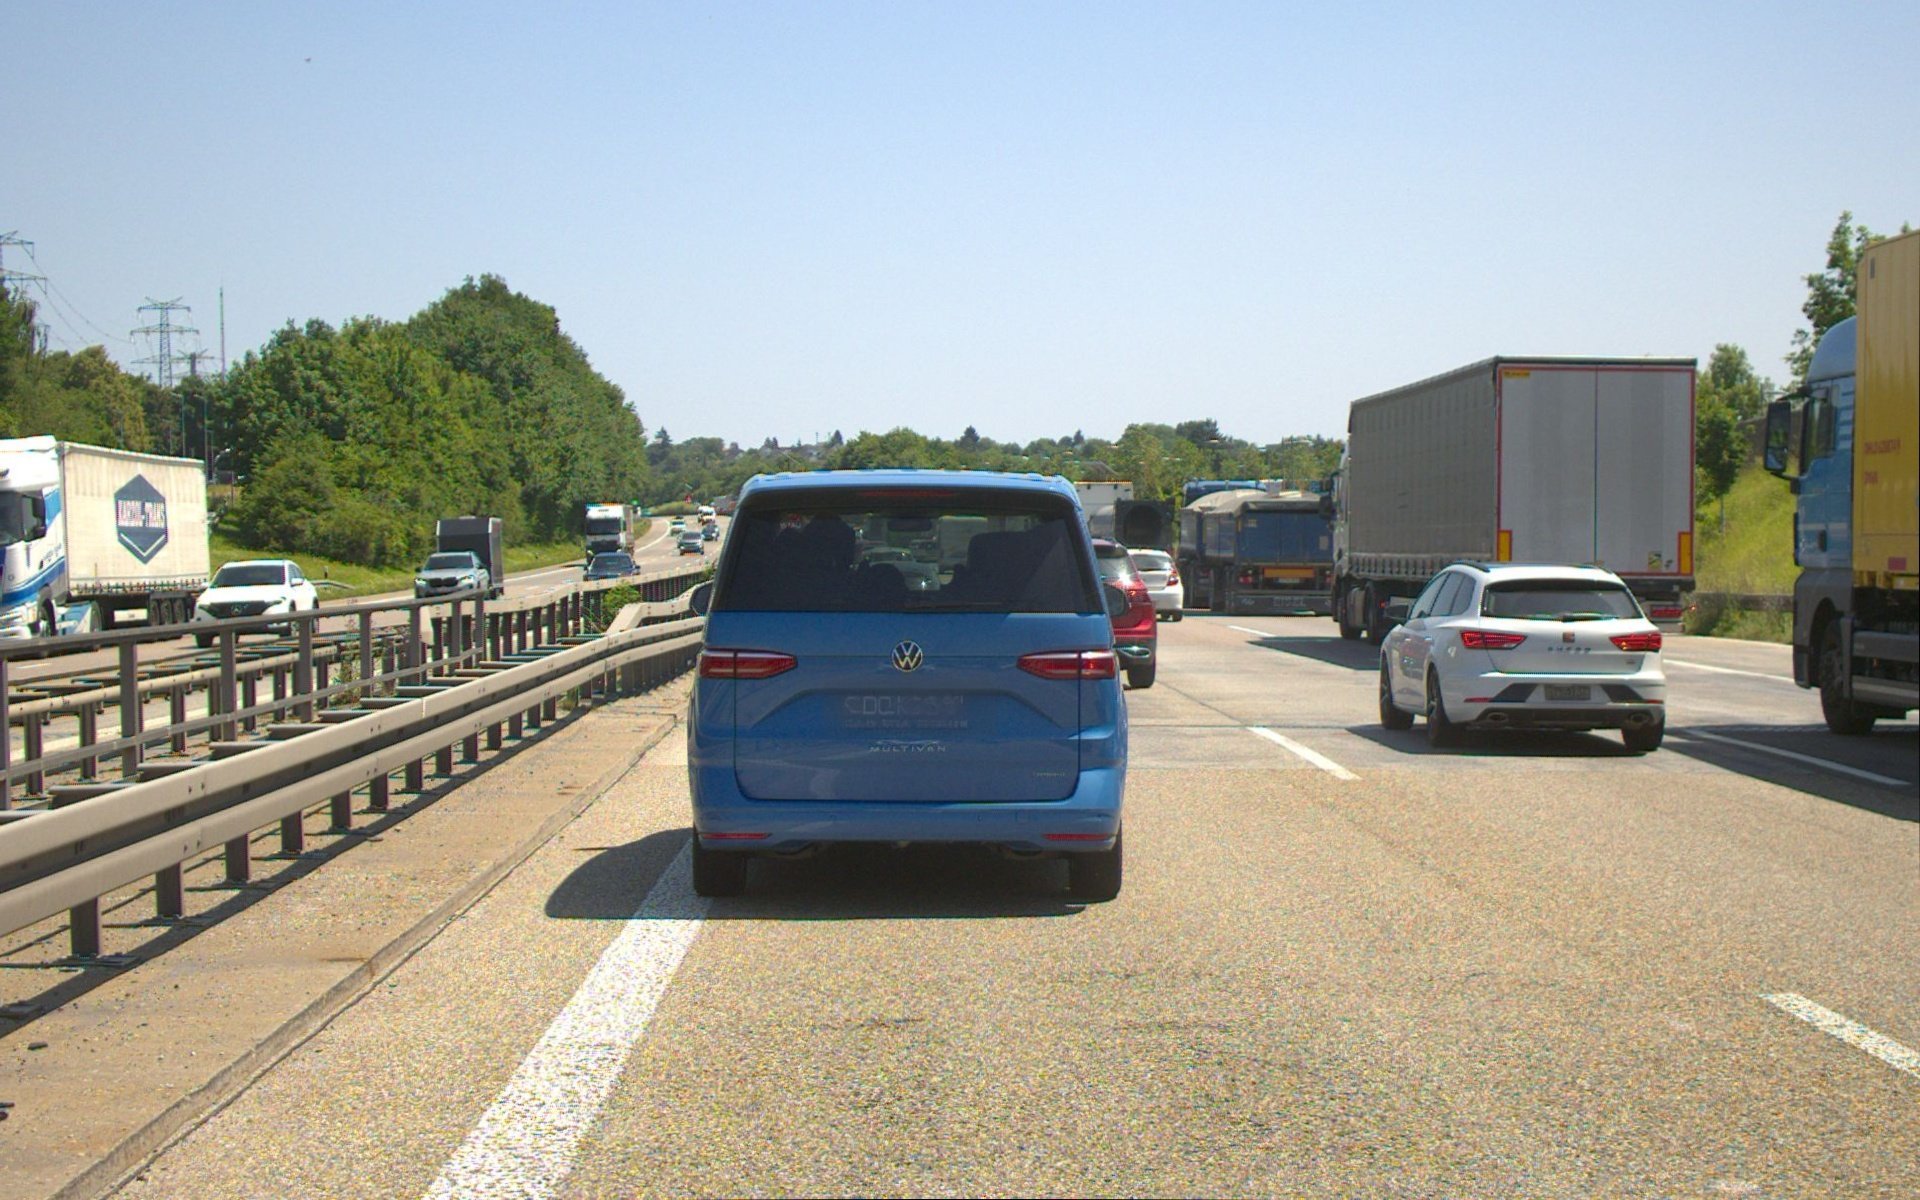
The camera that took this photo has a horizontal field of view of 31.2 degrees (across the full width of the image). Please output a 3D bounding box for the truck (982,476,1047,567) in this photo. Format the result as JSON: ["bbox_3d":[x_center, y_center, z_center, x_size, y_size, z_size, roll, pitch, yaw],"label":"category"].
[{"bbox_3d":[3.048,-4.376,194.237,3.068,4.903,10.691,1,0,-2],"label":"truck"}]

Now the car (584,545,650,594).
[{"bbox_3d":[-11.322,-0.995,113.699,1.792,1.567,4.000,1,0,-1],"label":"car"}]

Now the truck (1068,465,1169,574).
[{"bbox_3d":[6.131,-3.079,134.302,3.626,4.080,7.524,1,0,1],"label":"truck"}]

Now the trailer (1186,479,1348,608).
[{"bbox_3d":[7.139,-1.407,81.078,2.743,2.827,9.117,1,2,-1],"label":"trailer"}]

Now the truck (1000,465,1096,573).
[{"bbox_3d":[4.400,-4.025,176.164,3.621,5.195,15.691,1,0,-3],"label":"truck"}]

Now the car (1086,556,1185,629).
[{"bbox_3d":[3.645,-0.160,72.002,1.840,1.449,4.000,1,0,0],"label":"car"}]

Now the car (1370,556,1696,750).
[{"bbox_3d":[4.431,0.363,27.159,1.867,1.356,4.000,1,1,0],"label":"car"}]

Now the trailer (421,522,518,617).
[{"bbox_3d":[-15.405,-0.954,108.191,2.166,2.768,5.376,-3,0,-1],"label":"trailer"}]

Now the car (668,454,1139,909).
[{"bbox_3d":[-0.240,0.322,16.128,1.901,1.831,4.000,1,0,0],"label":"car"}]

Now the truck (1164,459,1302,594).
[{"bbox_3d":[6.941,-1.930,88.406,2.743,3.300,7.133,1,2,-1],"label":"truck"}]

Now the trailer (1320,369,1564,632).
[{"bbox_3d":[7.787,-1.610,56.340,2.924,4.030,6.411,0,1,-1],"label":"trailer"}]

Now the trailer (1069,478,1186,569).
[{"bbox_3d":[6.069,-2.734,127.203,3.646,3.068,15.772,1,0,0],"label":"trailer"}]

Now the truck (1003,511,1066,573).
[{"bbox_3d":[2.289,-1.785,106.505,1.725,1.851,4.000,1,0,-2],"label":"truck"}]

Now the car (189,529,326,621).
[{"bbox_3d":[-13.589,-0.487,66.729,1.749,1.690,4.385,-2,0,-1],"label":"car"}]

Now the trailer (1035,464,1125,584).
[{"bbox_3d":[5.324,-3.338,155.152,3.646,5.119,13.075,1,0,0],"label":"trailer"}]

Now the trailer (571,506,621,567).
[{"bbox_3d":[-24.490,-4.300,231.269,2.757,3.962,6.132,-2,1,-1],"label":"trailer"}]

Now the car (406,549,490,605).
[{"bbox_3d":[-15.348,-0.696,103.242,1.870,1.620,4.629,0,0,-1],"label":"car"}]

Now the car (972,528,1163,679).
[{"bbox_3d":[1.132,0.024,38.016,1.870,1.547,4.000,1,0,-1],"label":"car"}]

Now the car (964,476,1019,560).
[{"bbox_3d":[2.009,-5.300,224.189,3.218,5.239,8.145,1,0,-1],"label":"car"}]

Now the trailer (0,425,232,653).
[{"bbox_3d":[-18.437,-1.161,70.808,3.989,4.221,14.040,-1,0,-1],"label":"trailer"}]

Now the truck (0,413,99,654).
[{"bbox_3d":[-18.335,-1.122,62.655,4.005,4.214,4.859,-2,0,-1],"label":"truck"}]

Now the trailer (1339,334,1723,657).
[{"bbox_3d":[7.942,-1.441,50.131,2.962,4.035,13.753,0,1,-1],"label":"trailer"}]

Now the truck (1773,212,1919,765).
[{"bbox_3d":[8.484,-0.801,24.740,2.765,4.095,9.953,1,1,0],"label":"truck"}]

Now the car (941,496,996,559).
[{"bbox_3d":[0.396,-3.591,171.460,2.286,2.998,5.575,1,0,-4],"label":"car"}]
